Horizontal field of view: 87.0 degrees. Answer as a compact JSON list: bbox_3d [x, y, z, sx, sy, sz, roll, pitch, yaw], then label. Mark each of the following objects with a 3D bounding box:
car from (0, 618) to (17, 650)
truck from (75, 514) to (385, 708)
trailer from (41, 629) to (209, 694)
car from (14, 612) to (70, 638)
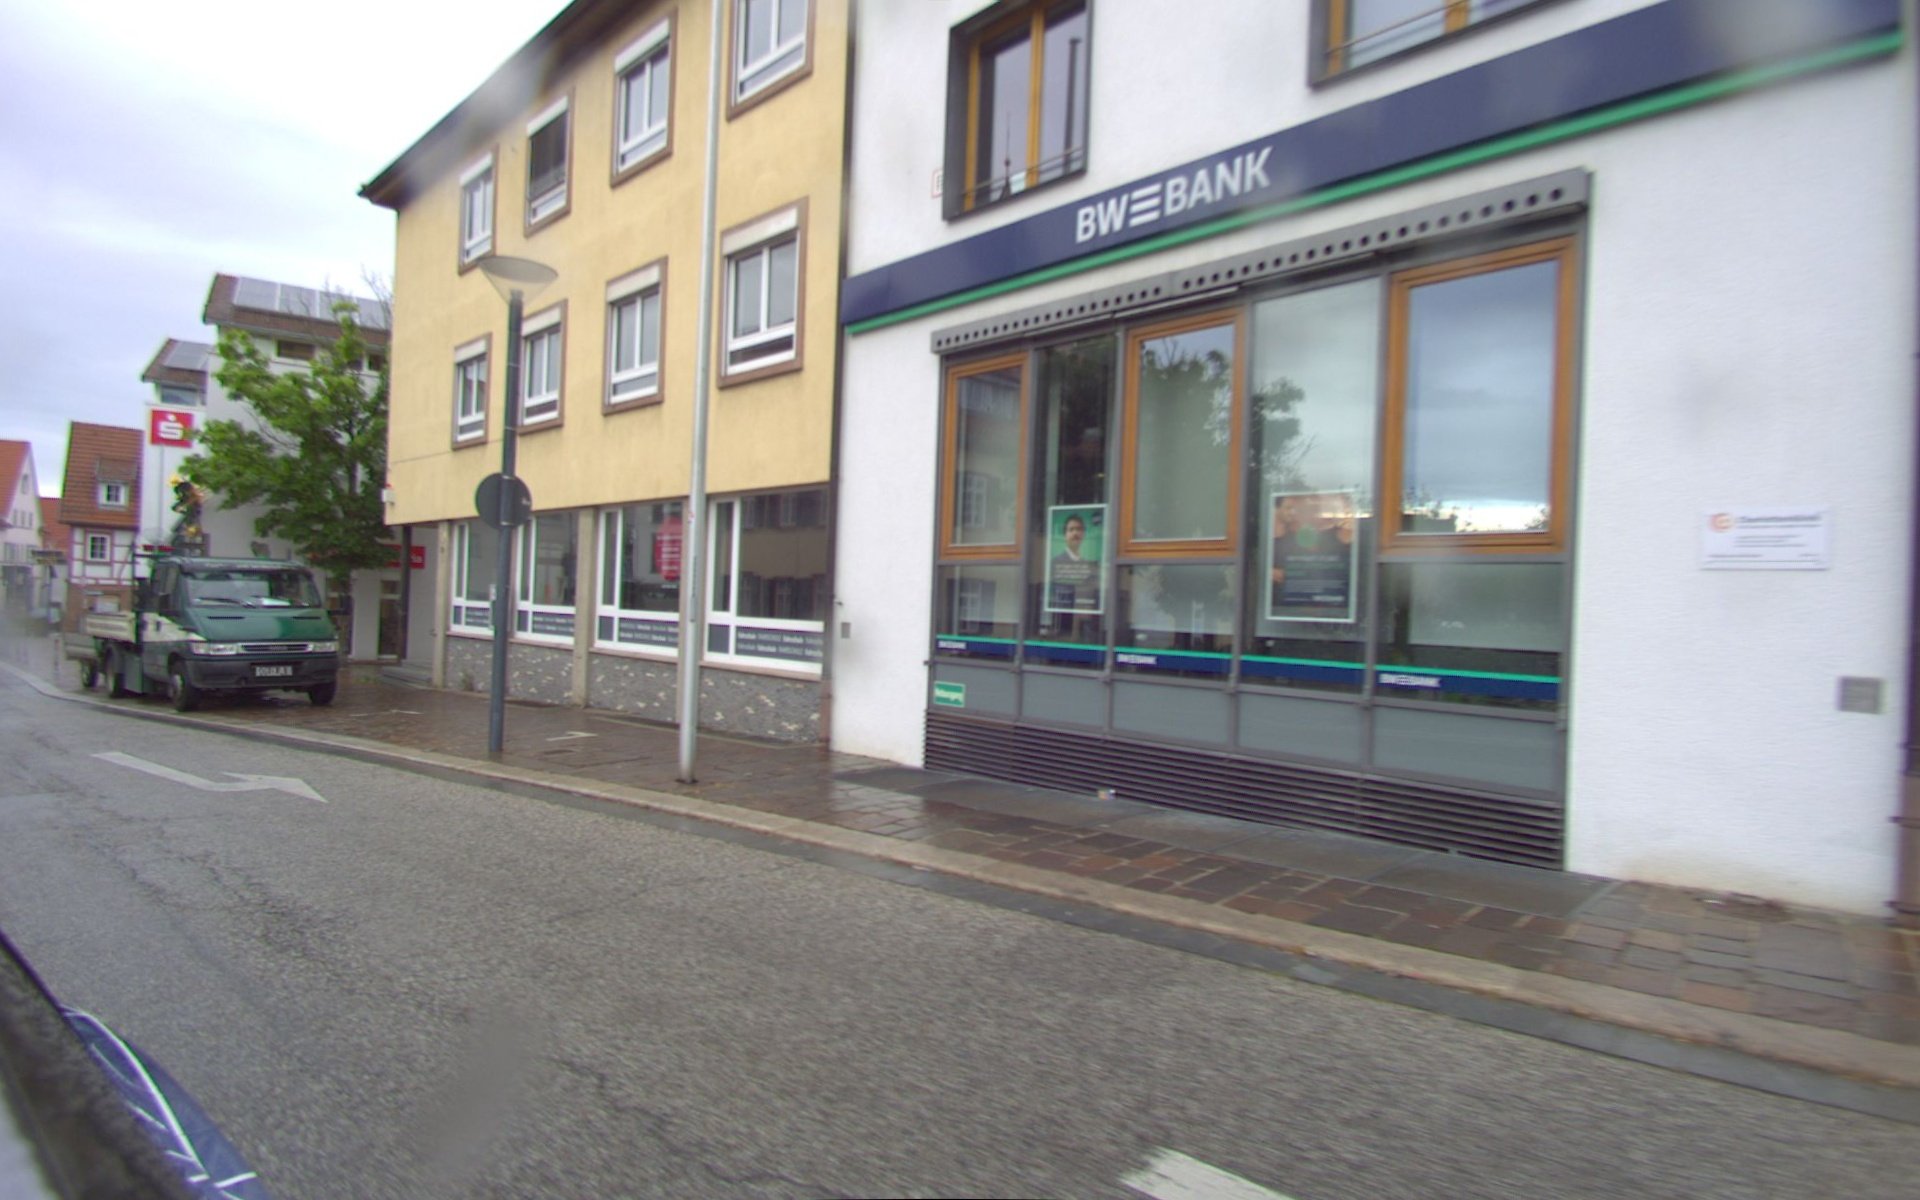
[{"bbox_3d":[-47.636,1.664,49.780,1.780,1.453,4.005,1,-1,-42],"label":"car"},{"bbox_3d":[-12.124,0.301,16.605,6.473,2.615,2.376,-3,-4,38],"label":"truck"},{"bbox_3d":[-15.985,1.169,19.361,3.014,1.133,1.835,-3,-4,37],"label":"trailer"},{"bbox_3d":[-54.862,1.486,60.558,1.777,1.453,4.011,1,-1,-33],"label":"car"}]
